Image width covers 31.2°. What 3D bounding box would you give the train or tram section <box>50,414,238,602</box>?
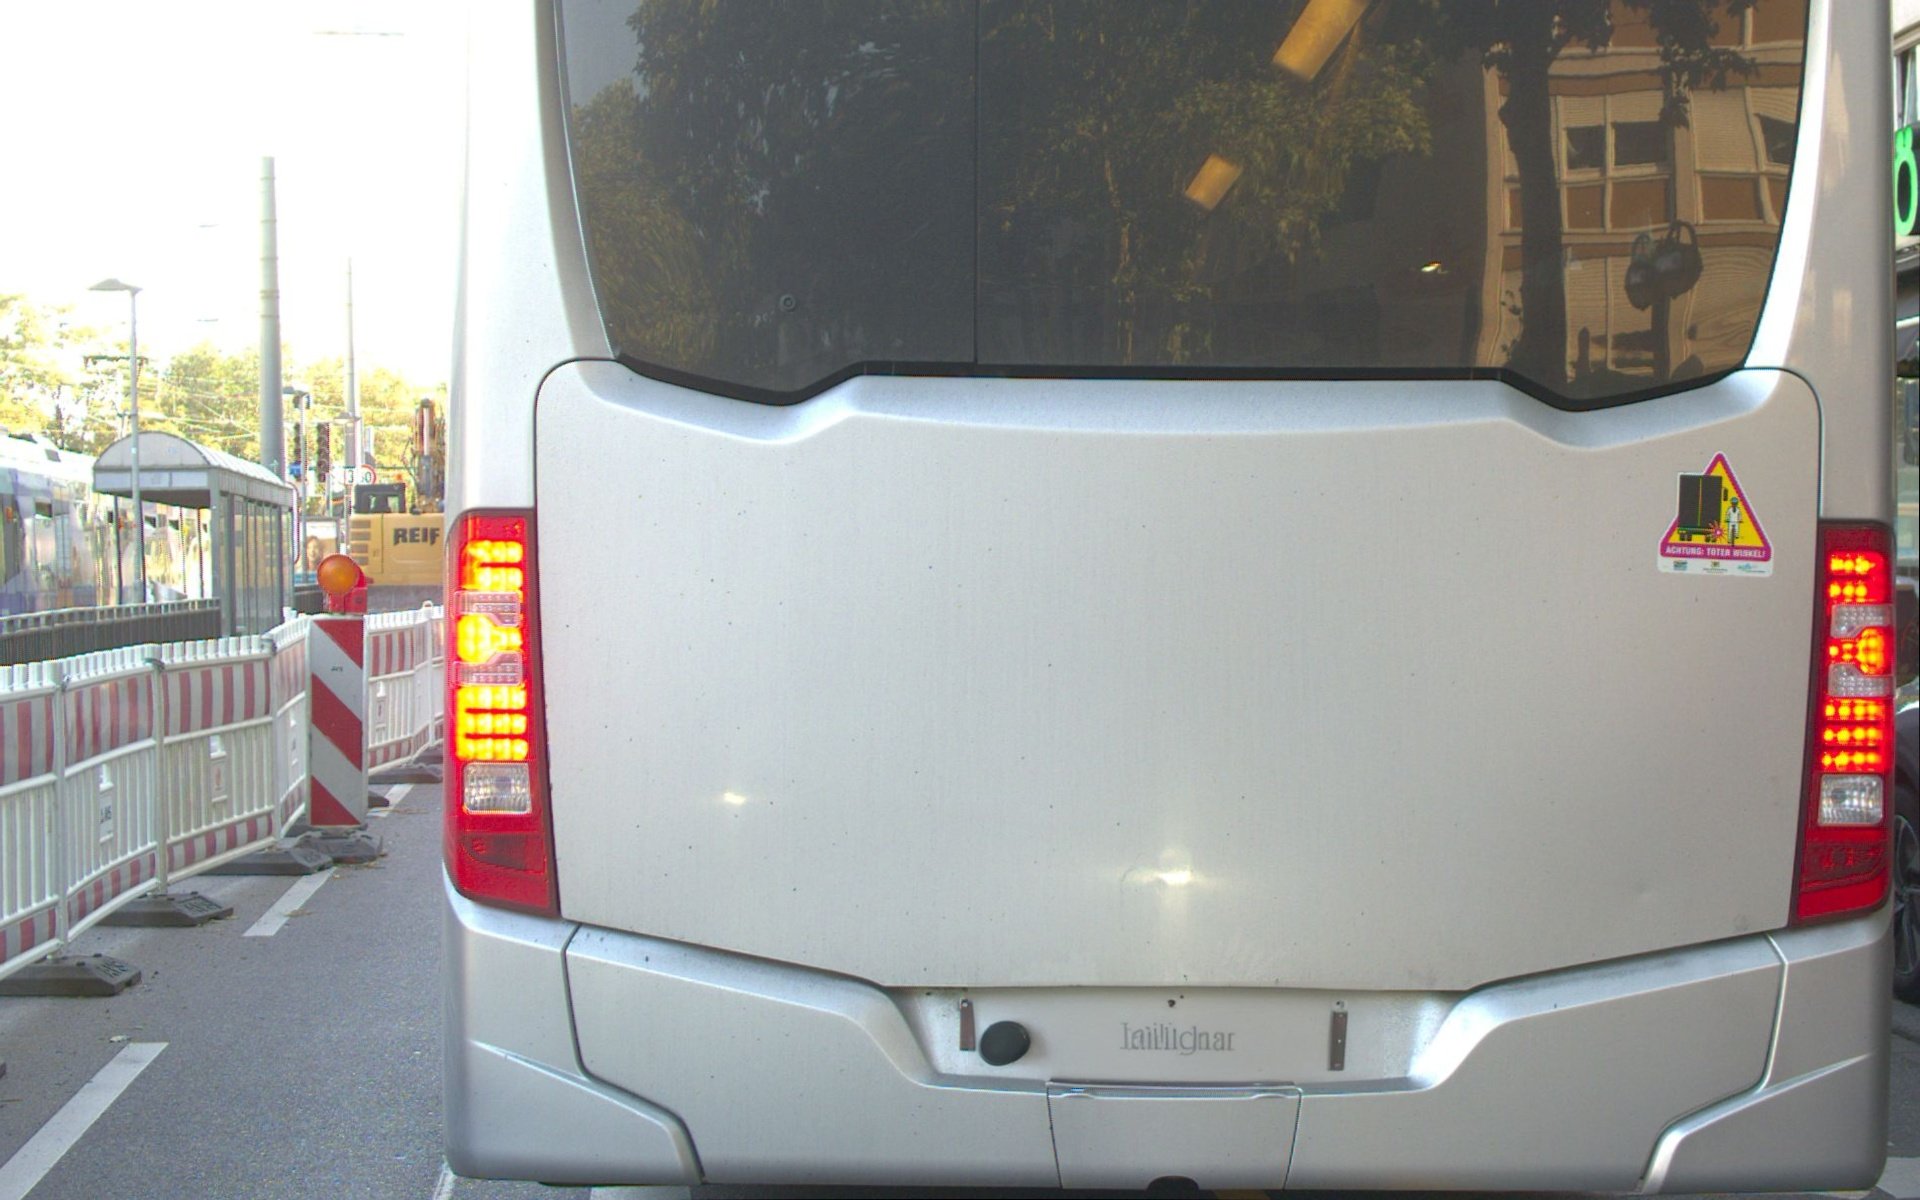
[{"bbox_3d":[-16.662,-1.811,70.868,2.686,3.521,11.585,1,1,-8],"label":"train or tram section"}]

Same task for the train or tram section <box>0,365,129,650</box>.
[{"bbox_3d":[-13.752,-1.211,47.765,2.686,3.521,11.774,1,1,-6],"label":"train or tram section"}]

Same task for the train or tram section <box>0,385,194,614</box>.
[{"bbox_3d":[-15.104,-1.638,59.391,2.686,3.546,11.585,1,1,-8],"label":"train or tram section"}]

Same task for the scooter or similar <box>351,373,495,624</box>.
[{"bbox_3d":[-9.991,-1.858,64.361,2.468,4.455,5.974,-1,1,-8],"label":"scooter or similar"}]

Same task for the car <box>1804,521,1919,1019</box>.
[{"bbox_3d":[4.137,0.527,9.791,1.993,1.576,4.369,-3,1,-5],"label":"car"}]

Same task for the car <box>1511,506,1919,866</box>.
[{"bbox_3d":[4.438,0.337,17.965,1.993,1.576,4.369,-3,1,-5],"label":"car"}]

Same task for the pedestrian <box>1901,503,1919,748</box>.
[{"bbox_3d":[6.835,0.157,23.571,0.664,1.661,0.600,-2,0,16],"label":"pedestrian"}]

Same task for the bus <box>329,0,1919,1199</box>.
[{"bbox_3d":[0.277,-0.208,9.484,2.611,3.115,7.993,1,1,-1],"label":"bus"}]
